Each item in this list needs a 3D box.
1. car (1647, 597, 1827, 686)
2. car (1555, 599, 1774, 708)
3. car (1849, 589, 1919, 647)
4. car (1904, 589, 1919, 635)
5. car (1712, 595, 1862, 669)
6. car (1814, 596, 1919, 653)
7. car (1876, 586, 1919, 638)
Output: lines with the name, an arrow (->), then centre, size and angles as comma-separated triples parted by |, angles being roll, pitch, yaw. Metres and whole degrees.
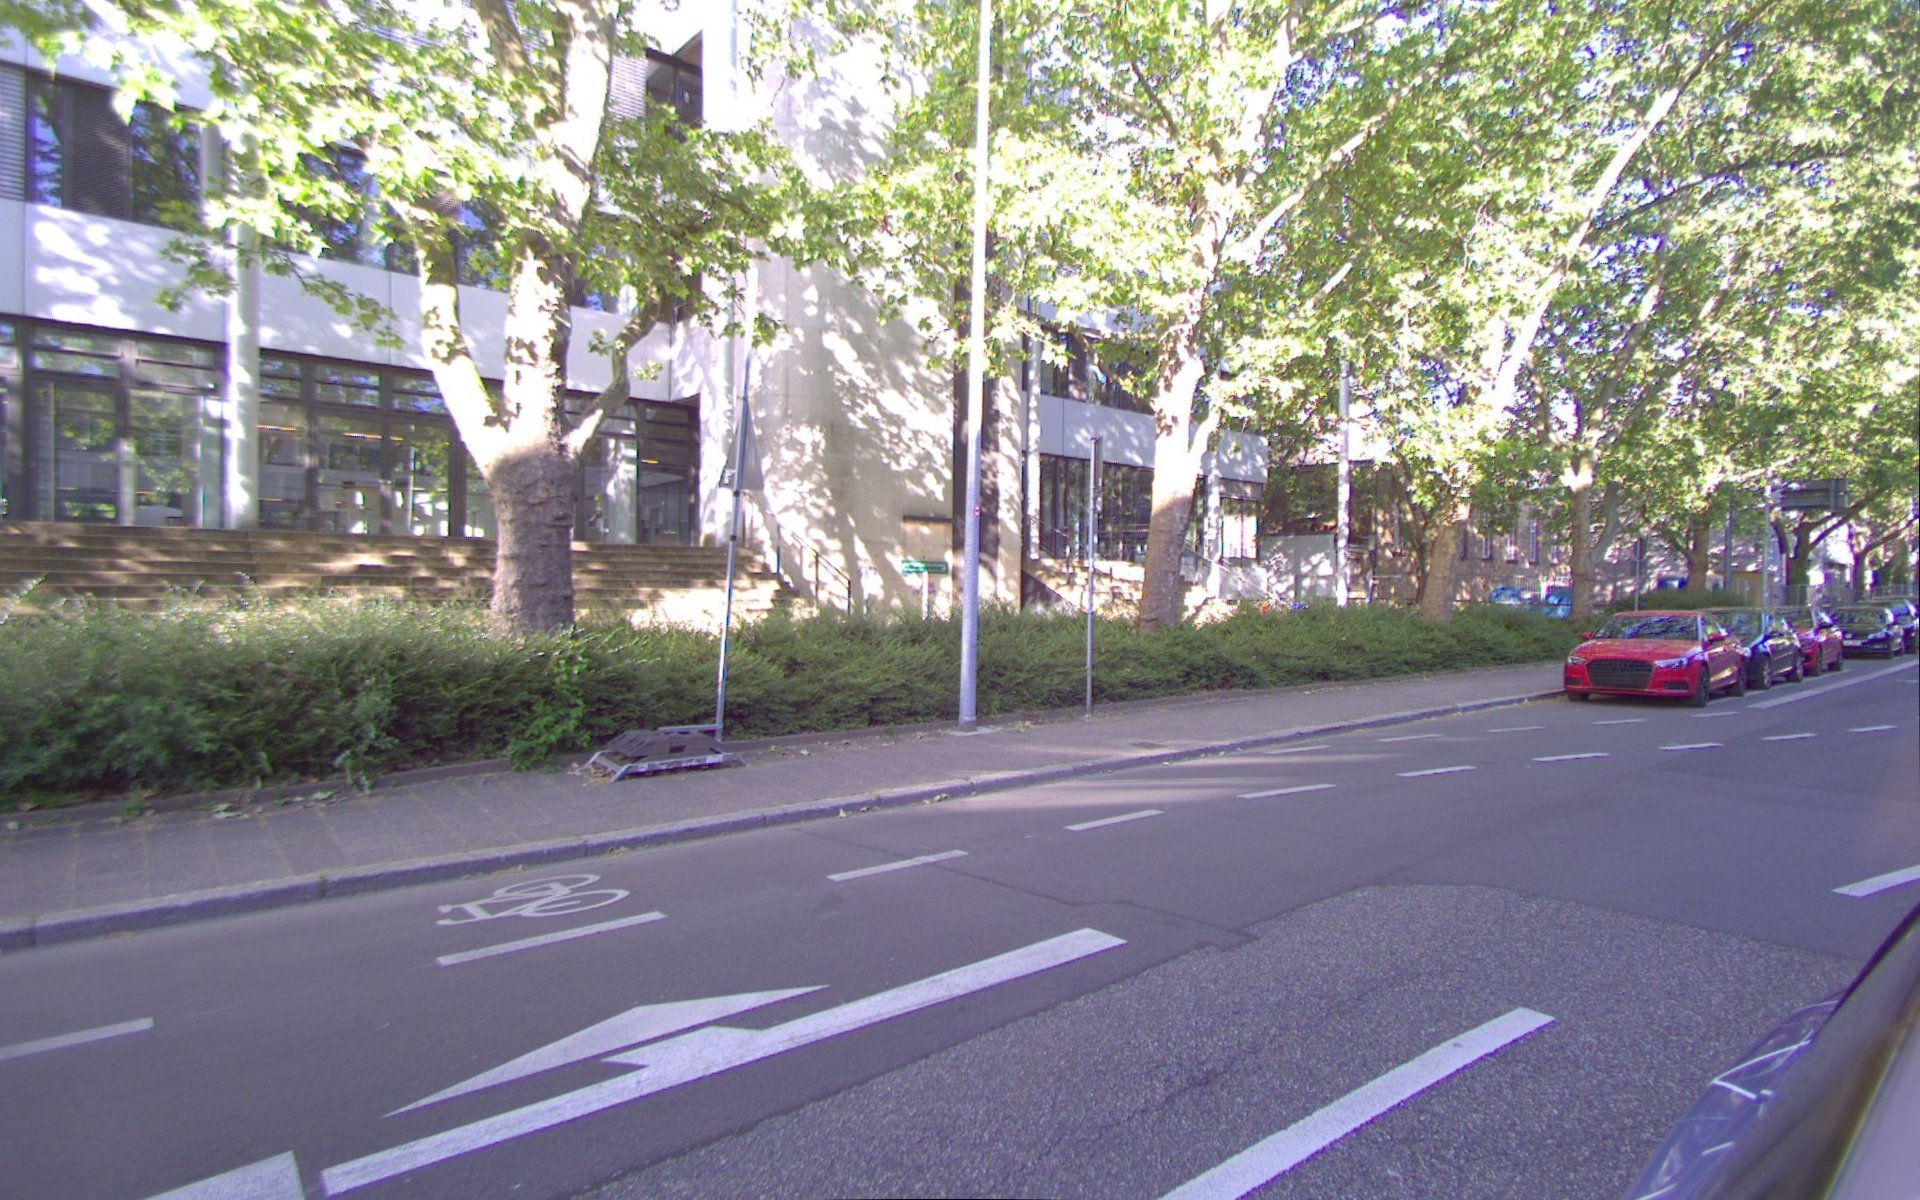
car -> 14.764, 0.694, 19.145 | 4.403, 1.469, 1.865 | 0, 0, -41
car -> 11.317, 0.740, 16.144 | 4.403, 1.469, 1.865 | 0, 0, -41
car -> 29.567, 0.516, 31.811 | 4.403, 1.689, 1.865 | 0, 0, -41
car -> 38.871, 0.447, 39.971 | 4.403, 1.781, 1.865 | 0, 0, -41
car -> 18.432, 0.639, 22.482 | 4.403, 1.469, 1.865 | 0, 0, -41
car -> 25.788, 0.624, 28.616 | 4.403, 1.469, 1.865 | 0, 0, -41
car -> 33.905, 0.398, 35.702 | 4.403, 1.781, 1.865 | 0, 0, -41
